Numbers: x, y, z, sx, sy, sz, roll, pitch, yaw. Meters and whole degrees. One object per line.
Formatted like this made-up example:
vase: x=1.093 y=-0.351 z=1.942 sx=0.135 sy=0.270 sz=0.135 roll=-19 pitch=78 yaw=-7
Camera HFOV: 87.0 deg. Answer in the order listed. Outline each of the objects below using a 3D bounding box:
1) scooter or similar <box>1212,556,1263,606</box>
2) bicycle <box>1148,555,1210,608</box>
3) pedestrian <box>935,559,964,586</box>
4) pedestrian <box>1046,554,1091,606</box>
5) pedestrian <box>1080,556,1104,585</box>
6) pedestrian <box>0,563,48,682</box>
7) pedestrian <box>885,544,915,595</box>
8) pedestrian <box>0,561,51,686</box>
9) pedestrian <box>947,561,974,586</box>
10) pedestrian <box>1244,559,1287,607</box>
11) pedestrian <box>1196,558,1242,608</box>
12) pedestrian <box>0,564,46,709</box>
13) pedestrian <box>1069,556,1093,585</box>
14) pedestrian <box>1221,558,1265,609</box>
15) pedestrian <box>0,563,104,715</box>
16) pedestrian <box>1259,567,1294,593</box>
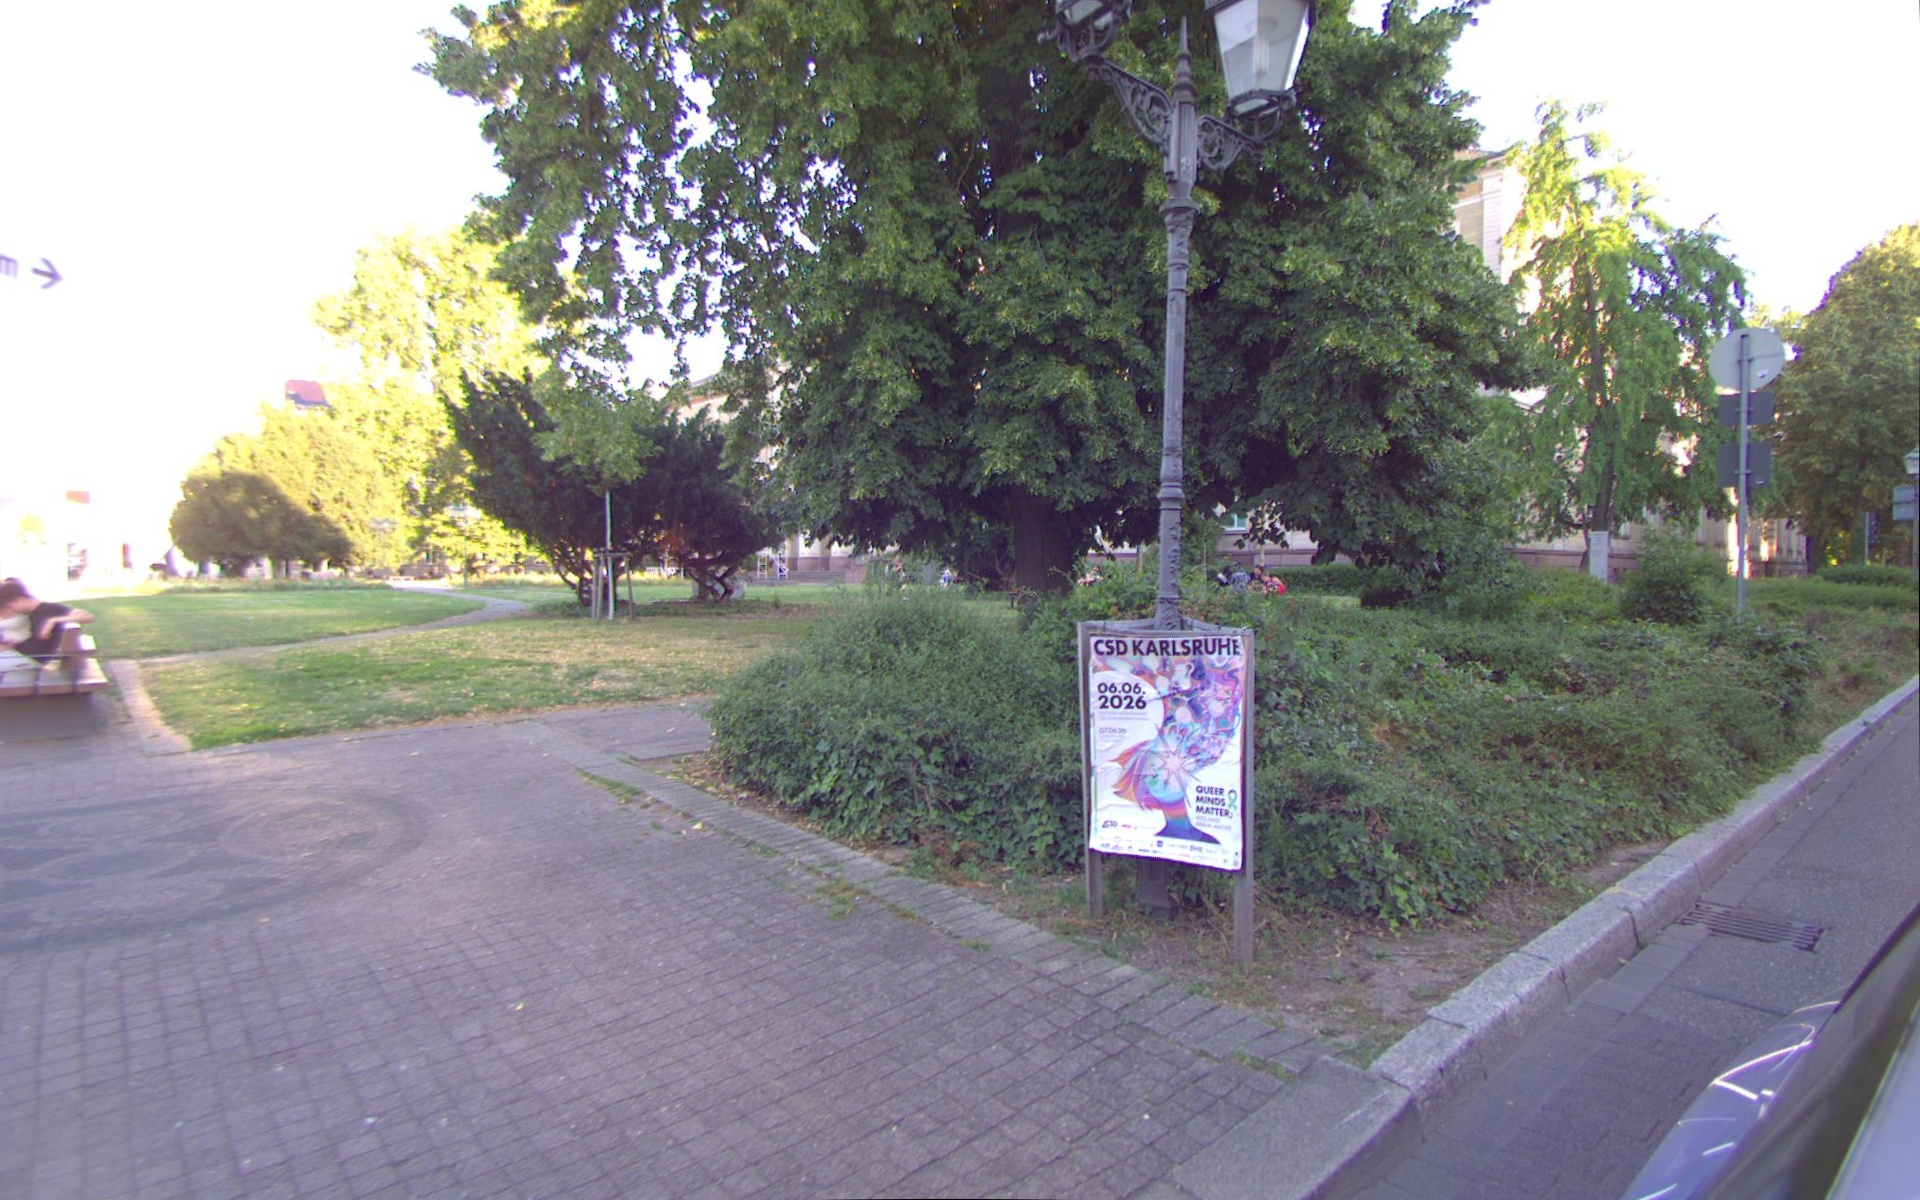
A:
scooter or similar: x=7.196 y=-0.499 z=26.241 sx=1.212 sy=1.261 sz=0.413 roll=2 pitch=2 yaw=34
bicycle: x=5.663 y=-0.497 z=26.108 sx=0.619 sy=1.316 sz=1.987 roll=2 pitch=3 yaw=44
pedestrian: x=-0.614 y=-1.601 z=58.821 sx=1.540 sy=1.575 sz=0.801 roll=-1 pitch=3 yaw=-41
pedestrian: x=2.909 y=-0.550 z=27.192 sx=0.913 sy=1.364 sz=0.874 roll=2 pitch=2 yaw=34
pedestrian: x=6.570 y=-1.485 z=50.362 sx=1.026 sy=1.414 sz=0.695 roll=-1 pitch=3 yaw=-41
pedestrian: x=-11.124 y=0.250 z=11.697 sx=0.596 sy=1.358 sz=0.806 roll=2 pitch=2 yaw=43
pedestrian: x=-2.109 y=-1.092 z=35.769 sx=0.746 sy=1.768 sz=0.771 roll=-2 pitch=3 yaw=-44
pedestrian: x=-10.667 y=0.250 z=11.222 sx=0.596 sy=1.358 sz=0.806 roll=2 pitch=2 yaw=43
pedestrian: x=0.023 y=-1.516 z=57.931 sx=1.427 sy=1.414 sz=0.694 roll=-1 pitch=3 yaw=-41
pedestrian: x=7.735 y=-0.434 z=25.631 sx=0.778 sy=1.206 sz=0.666 roll=0 pitch=2 yaw=-13
pedestrian: x=6.464 y=-0.442 z=25.267 sx=0.775 sy=1.206 sz=0.809 roll=-1 pitch=2 yaw=-38
pedestrian: x=-8.779 y=0.325 z=8.935 sx=0.590 sy=1.277 sz=0.868 roll=1 pitch=2 yaw=18
pedestrian: x=6.101 y=-1.491 z=51.126 sx=1.026 sy=1.414 sz=0.695 roll=-1 pitch=3 yaw=-41
pedestrian: x=6.865 y=-0.403 z=24.586 sx=0.733 sy=1.206 sz=0.724 roll=-1 pitch=2 yaw=-38
pedestrian: x=-8.140 y=0.304 z=8.813 sx=0.675 sy=1.253 sz=0.813 roll=1 pitch=2 yaw=19
pedestrian: x=7.743 y=-0.494 z=24.740 sx=0.537 sy=0.556 sz=1.364 roll=5 pitch=5 yaw=29
